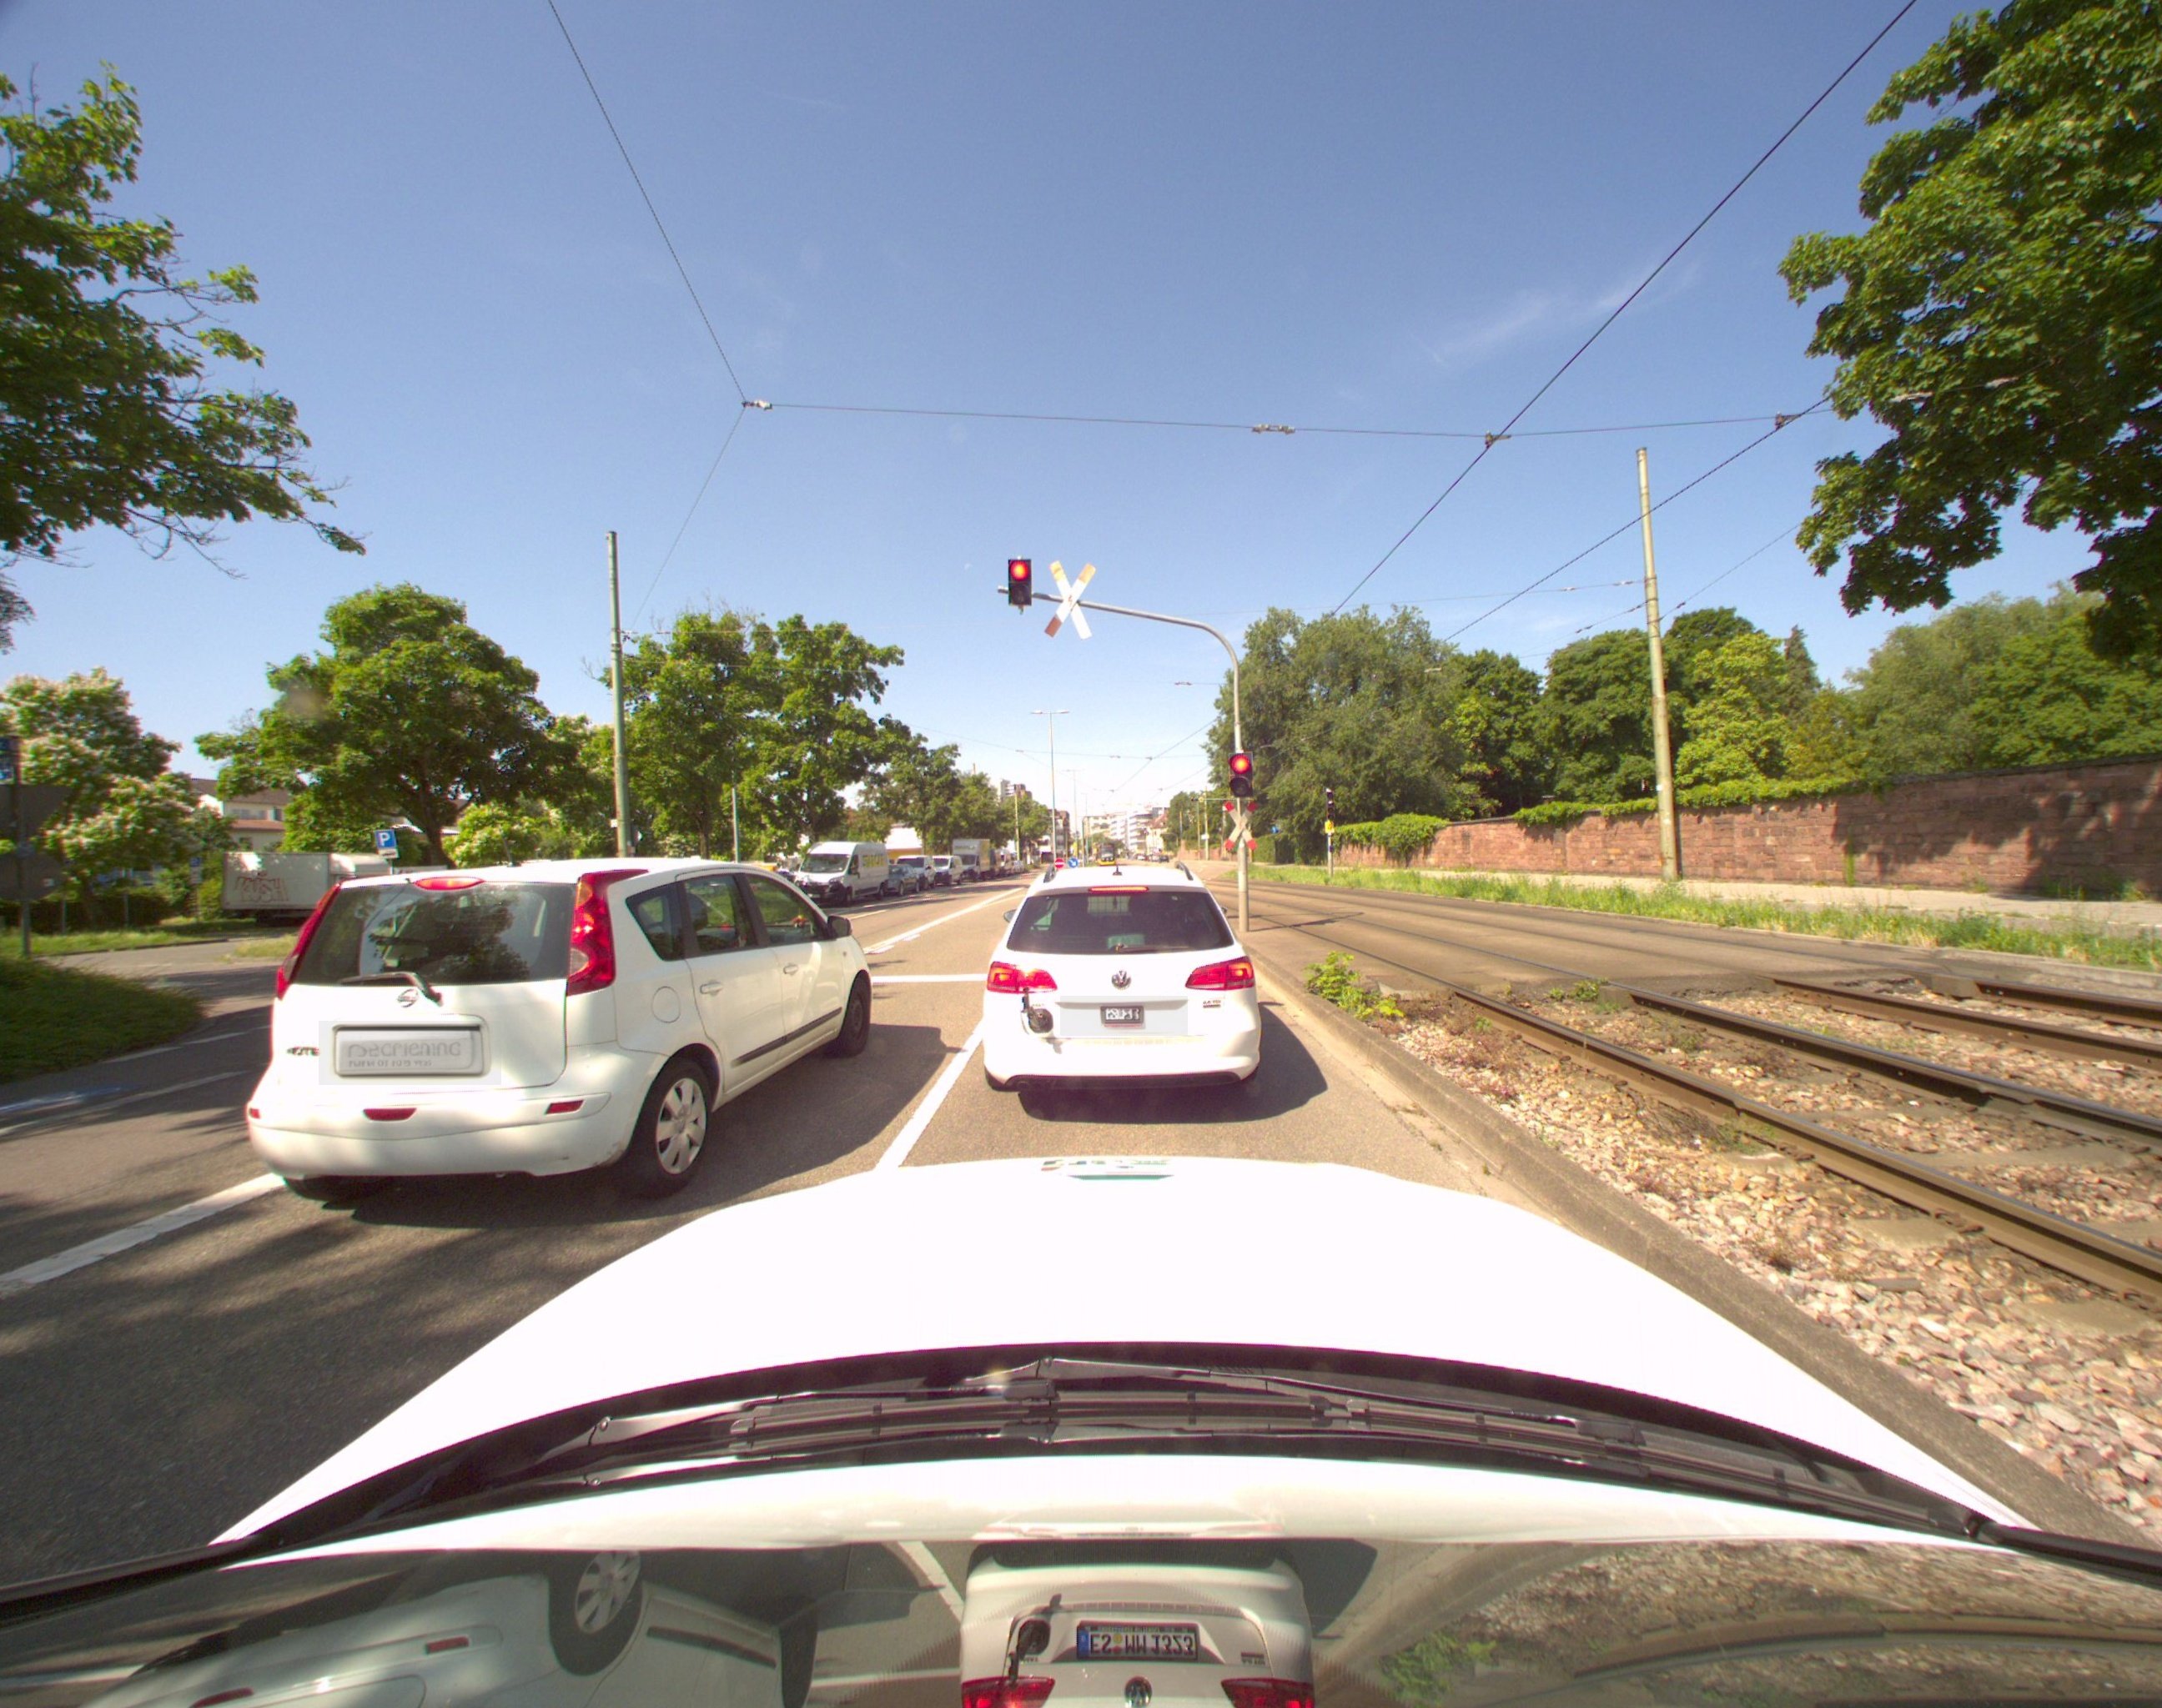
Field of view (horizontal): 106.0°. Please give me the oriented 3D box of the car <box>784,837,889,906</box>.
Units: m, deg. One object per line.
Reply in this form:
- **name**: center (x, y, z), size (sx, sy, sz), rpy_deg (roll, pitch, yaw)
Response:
- **car**: center (-9.633, 0.626, 32.707), size (2.114, 2.516, 5.822), rpy_deg (0, 0, 3)

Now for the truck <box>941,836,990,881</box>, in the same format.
- **truck**: center (-8.501, 0.290, 60.692), size (2.411, 3.150, 7.001), rpy_deg (0, 0, 2)

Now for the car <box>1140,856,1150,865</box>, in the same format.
- **car**: center (13.619, 1.408, 173.019), size (1.857, 1.868, 5.063), rpy_deg (0, 0, 1)

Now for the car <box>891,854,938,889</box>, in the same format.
- **car**: center (-9.285, 0.941, 45.677), size (1.859, 1.868, 5.068), rpy_deg (0, 0, -3)

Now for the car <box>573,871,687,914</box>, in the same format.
- **car**: center (-19.902, 1.673, 36.066), size (3.977, 1.610, 1.729), rpy_deg (-4, -1, -3)

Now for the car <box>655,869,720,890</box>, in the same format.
- **car**: center (-35.175, 2.262, 72.975), size (4.780, 1.787, 2.062), rpy_deg (0, -1, -3)

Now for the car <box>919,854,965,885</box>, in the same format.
- **car**: center (-8.851, 0.958, 52.266), size (1.856, 1.868, 5.415), rpy_deg (0, 0, 2)

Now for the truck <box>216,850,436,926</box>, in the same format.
- **truck**: center (-32.457, 1.425, 35.210), size (6.978, 3.110, 2.677), rpy_deg (0, 0, 0)

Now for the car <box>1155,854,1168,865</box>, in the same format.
- **car**: center (13.903, 0.959, 140.703), size (1.857, 1.868, 5.063), rpy_deg (0, 0, 1)

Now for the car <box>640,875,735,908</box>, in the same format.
- **car**: center (-20.349, 1.923, 42.209), size (3.977, 1.415, 1.729), rpy_deg (-4, -1, -3)

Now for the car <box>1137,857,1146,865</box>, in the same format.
- **car**: center (14.049, 1.622, 189.408), size (1.857, 1.868, 5.063), rpy_deg (0, 0, 1)

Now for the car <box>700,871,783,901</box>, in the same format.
- **car**: center (-19.591, 1.820, 47.063), size (3.977, 1.415, 1.729), rpy_deg (-4, -1, -3)

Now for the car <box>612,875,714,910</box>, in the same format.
- **car**: center (-20.279, 1.852, 39.602), size (3.977, 1.415, 1.729), rpy_deg (-4, -1, -3)

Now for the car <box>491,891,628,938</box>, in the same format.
- **car**: center (-19.885, 2.275, 31.166), size (3.977, 1.415, 1.729), rpy_deg (-4, -1, -3)

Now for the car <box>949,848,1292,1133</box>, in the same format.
- **car**: center (0.270, 0.724, 6.312), size (1.756, 1.430, 4.002), rpy_deg (-3, 0, 2)

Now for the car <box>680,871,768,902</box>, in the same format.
- **car**: center (-19.520, 1.773, 44.677), size (3.977, 1.415, 1.729), rpy_deg (-4, -1, -3)

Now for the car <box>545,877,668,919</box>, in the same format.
- **car**: center (-19.653, 1.812, 33.859), size (3.977, 1.415, 1.729), rpy_deg (-4, -1, -3)

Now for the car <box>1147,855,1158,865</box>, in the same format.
- **car**: center (13.790, 1.149, 156.876), size (1.857, 1.868, 5.063), rpy_deg (0, 0, 1)

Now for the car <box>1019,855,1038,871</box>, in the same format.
- **car**: center (-6.364, 1.117, 98.937), size (1.856, 1.868, 5.415), rpy_deg (0, 0, 2)

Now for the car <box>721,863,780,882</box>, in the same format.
- **car**: center (-31.552, 1.741, 77.940), size (4.780, 1.787, 2.062), rpy_deg (0, -1, -3)

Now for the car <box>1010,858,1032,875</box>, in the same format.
- **car**: center (-6.746, 1.402, 92.023), size (1.856, 1.868, 5.415), rpy_deg (0, 0, 2)

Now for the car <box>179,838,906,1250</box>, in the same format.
- **car**: center (-2.568, 0.732, 5.403), size (1.656, 1.547, 4.548), rpy_deg (-1, 0, 2)

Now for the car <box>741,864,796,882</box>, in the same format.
- **car**: center (-31.749, 1.935, 82.780), size (4.780, 1.787, 2.062), rpy_deg (0, -1, -3)

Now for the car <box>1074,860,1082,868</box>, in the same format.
- **car**: center (-0.822, 2.435, 205.222), size (1.756, 1.896, 4.916), rpy_deg (0, -1, 2)

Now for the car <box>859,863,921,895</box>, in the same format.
- **car**: center (-9.111, 1.173, 39.135), size (1.856, 1.415, 4.281), rpy_deg (0, 0, 1)

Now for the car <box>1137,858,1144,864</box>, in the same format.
- **car**: center (16.843, 1.964, 230.845), size (1.857, 1.868, 5.063), rpy_deg (0, 0, 1)

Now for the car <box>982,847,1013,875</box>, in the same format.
- **car**: center (-7.747, 0.622, 76.118), size (2.114, 2.516, 5.737), rpy_deg (0, 0, 2)

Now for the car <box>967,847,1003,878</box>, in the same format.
- **car**: center (-8.025, 0.690, 68.683), size (2.114, 2.516, 5.737), rpy_deg (0, 0, 2)

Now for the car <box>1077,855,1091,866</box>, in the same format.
- **car**: center (0.437, 0.877, 111.962), size (1.698, 1.473, 4.593), rpy_deg (-3, 0, 3)

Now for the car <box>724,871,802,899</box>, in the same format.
- **car**: center (-19.444, 1.876, 49.879), size (3.977, 1.415, 1.729), rpy_deg (-4, -1, -3)

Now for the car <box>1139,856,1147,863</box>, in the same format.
- **car**: center (16.057, 1.487, 212.010), size (1.857, 1.868, 5.063), rpy_deg (0, 0, 1)

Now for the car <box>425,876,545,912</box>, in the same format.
- **car**: center (-31.750, 2.094, 43.496), size (4.780, 1.787, 2.062), rpy_deg (0, -1, -3)

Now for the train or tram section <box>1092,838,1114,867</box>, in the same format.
- **train or tram section**: center (3.225, -0.218, 118.335), size (2.860, 3.855, 12.396), rpy_deg (-3, 0, 2)

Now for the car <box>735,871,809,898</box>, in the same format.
- **car**: center (-19.774, 1.923, 52.186), size (3.977, 1.415, 1.729), rpy_deg (-4, -1, -3)

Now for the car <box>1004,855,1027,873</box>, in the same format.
- **car**: center (-6.799, 1.032, 85.207), size (1.856, 1.868, 5.415), rpy_deg (0, 0, 2)
